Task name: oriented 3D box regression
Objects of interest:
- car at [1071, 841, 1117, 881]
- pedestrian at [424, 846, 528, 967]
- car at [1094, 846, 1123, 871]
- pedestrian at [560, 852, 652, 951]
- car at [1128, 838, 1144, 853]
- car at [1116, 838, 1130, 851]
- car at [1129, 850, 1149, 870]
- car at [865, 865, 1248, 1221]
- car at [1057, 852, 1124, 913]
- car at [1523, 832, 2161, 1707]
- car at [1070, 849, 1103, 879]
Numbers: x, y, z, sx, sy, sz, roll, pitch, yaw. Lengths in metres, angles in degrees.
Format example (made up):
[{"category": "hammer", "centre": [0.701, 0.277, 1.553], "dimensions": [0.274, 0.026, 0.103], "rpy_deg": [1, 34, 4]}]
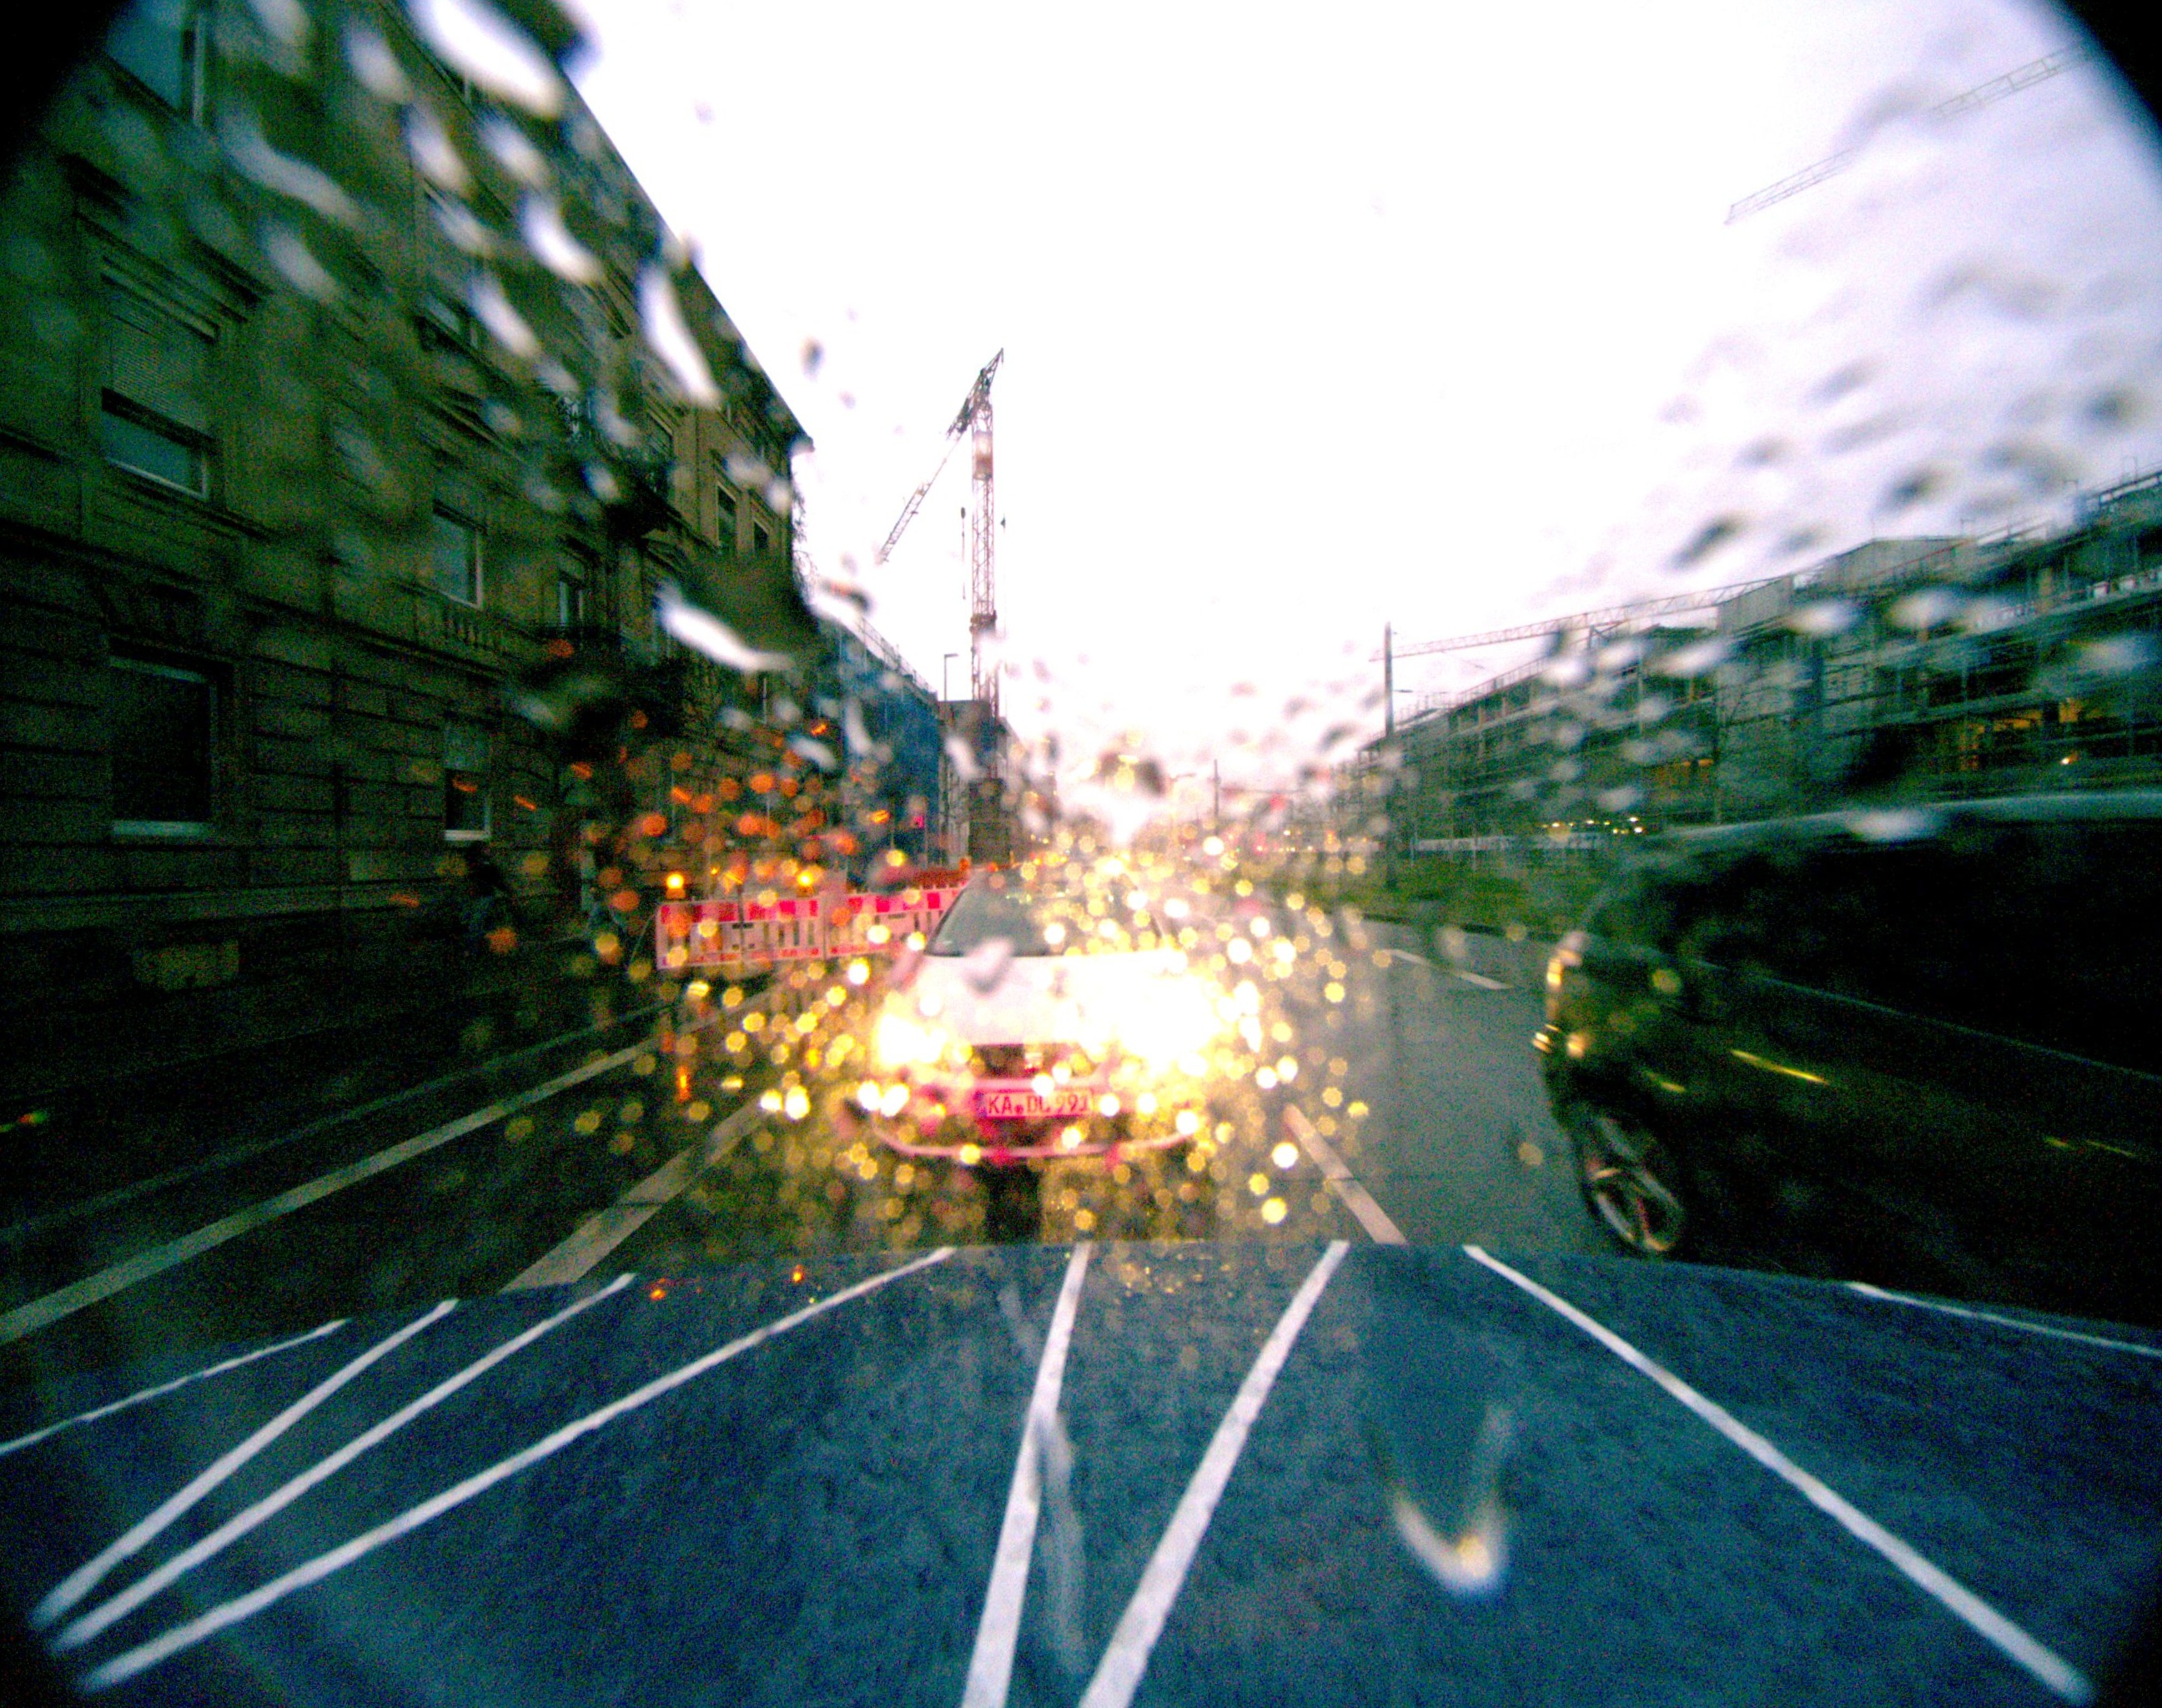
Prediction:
[{"category": "car", "centre": [0.496, 0.246, 32.224], "dimensions": [1.769, 1.504, 3.899], "rpy_deg": [-3, 1, 0]}, {"category": "pedestrian", "centre": [-8.537, 0.718, 10.752], "dimensions": [0.870, 1.663, 0.707], "rpy_deg": [0, 1, 4]}, {"category": "car", "centre": [1.812, 0.267, 51.409], "dimensions": [1.769, 1.504, 3.899], "rpy_deg": [-3, 1, 0]}, {"category": "pedestrian", "centre": [-7.667, 0.745, 12.312], "dimensions": [0.870, 1.536, 0.929], "rpy_deg": [0, 1, 1]}, {"category": "car", "centre": [6.319, -0.966, 87.324], "dimensions": [1.768, 1.614, 3.900], "rpy_deg": [-3, 1, 4]}, {"category": "car", "centre": [5.922, -1.350, 107.016], "dimensions": [1.768, 1.614, 3.900], "rpy_deg": [-3, 1, 4]}, {"category": "car", "centre": [5.320, 0.539, 69.852], "dimensions": [1.768, 1.614, 3.900], "rpy_deg": [-3, 1, 4]}, {"category": "car", "centre": [-0.117, 0.939, 5.600], "dimensions": [1.769, 1.504, 3.899], "rpy_deg": [-3, 1, 0]}, {"category": "car", "centre": [0.259, 0.782, 22.718], "dimensions": [1.769, 1.504, 3.899], "rpy_deg": [-3, 1, 0]}, {"category": "car", "centre": [2.674, 0.776, 0.895], "dimensions": [1.815, 1.636, 4.134], "rpy_deg": [-2, 0, -1]}, {"category": "car", "centre": [0.321, 0.545, 44.136], "dimensions": [1.769, 1.504, 3.899], "rpy_deg": [-3, 1, 0]}]
